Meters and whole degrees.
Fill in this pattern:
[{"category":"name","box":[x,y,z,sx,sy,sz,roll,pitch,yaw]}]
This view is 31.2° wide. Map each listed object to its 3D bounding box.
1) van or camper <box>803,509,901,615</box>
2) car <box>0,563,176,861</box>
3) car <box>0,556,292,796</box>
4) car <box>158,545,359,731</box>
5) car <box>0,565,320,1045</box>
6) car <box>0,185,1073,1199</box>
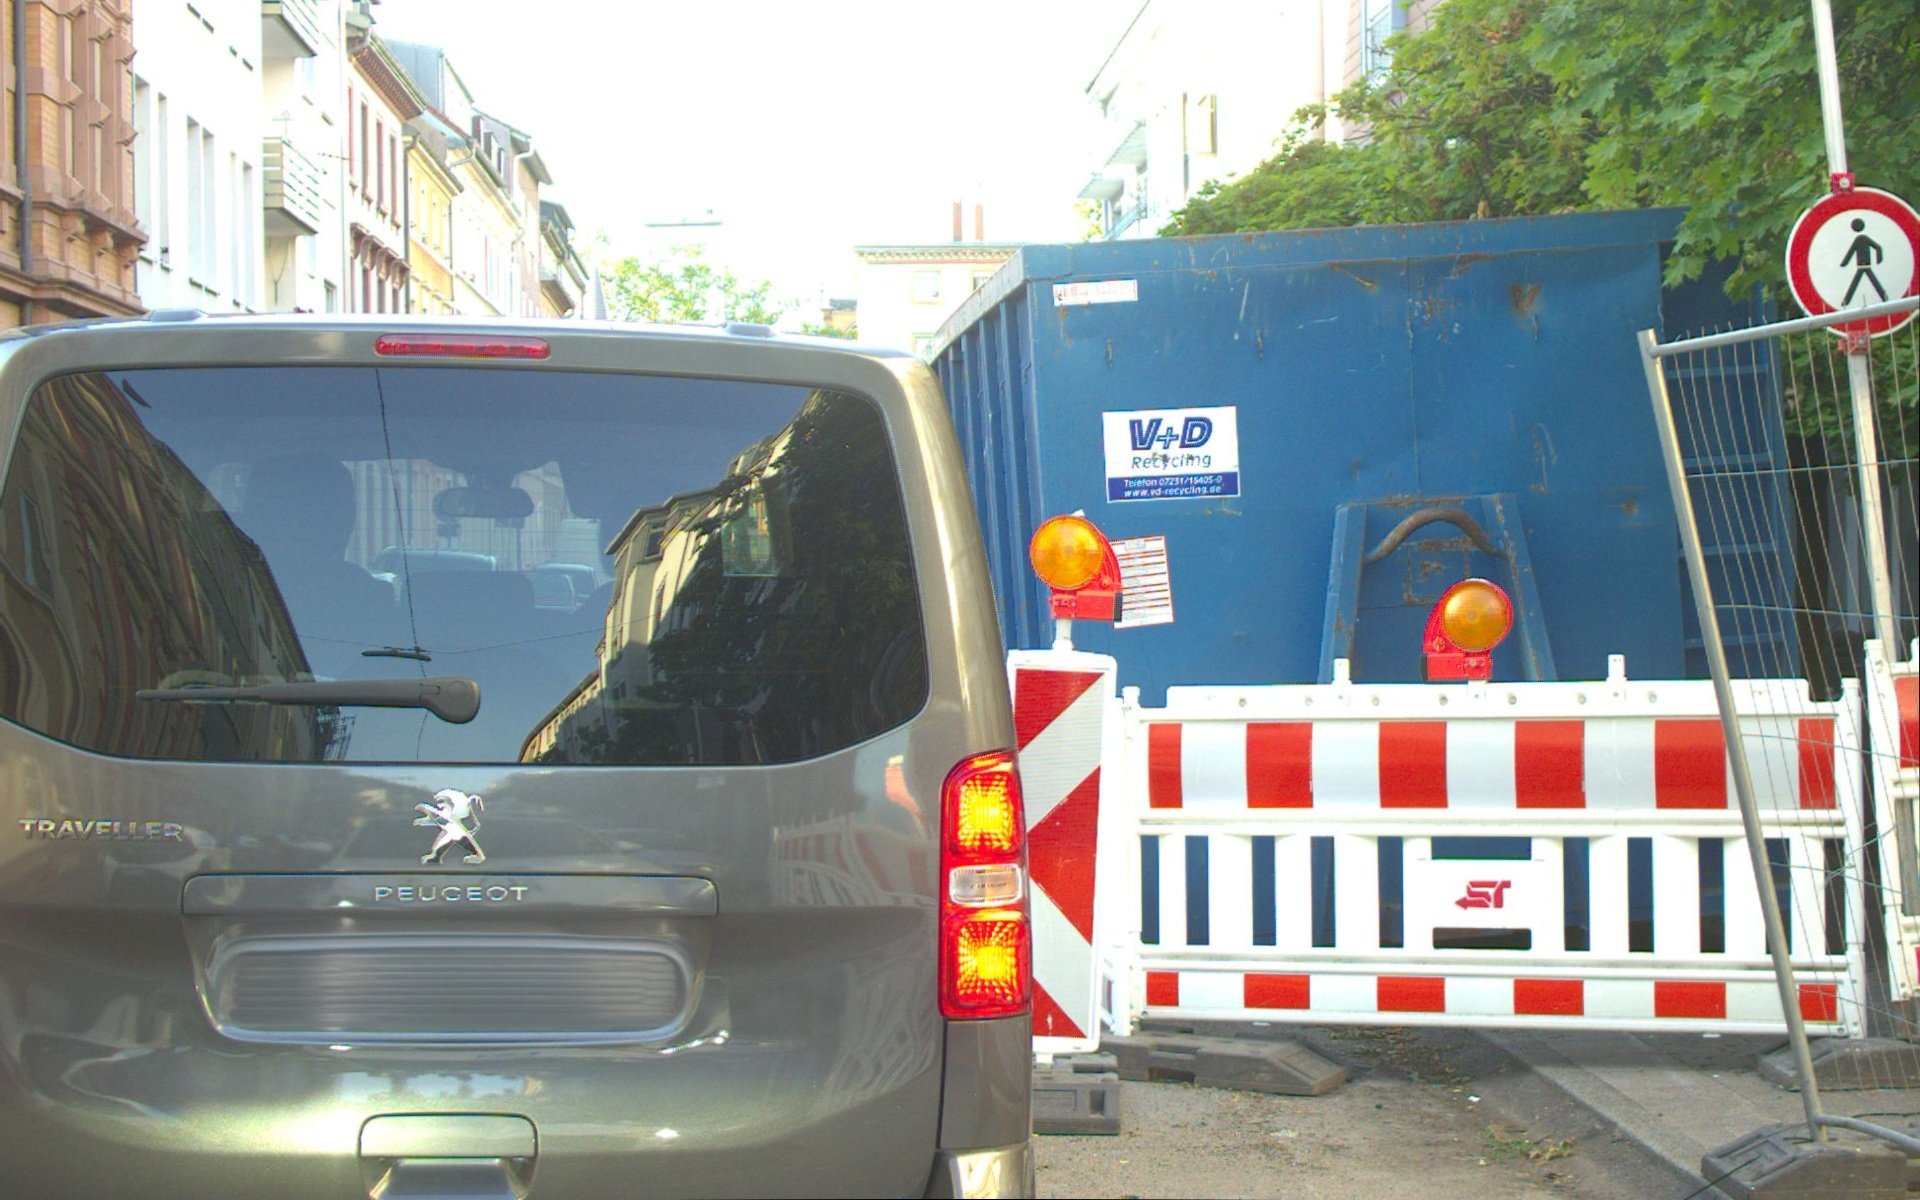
[{"category":"van or camper","box":[-2.882,-0.999,90.229,2.099,2.593,7.514,-2,1,-5]},{"category":"car","box":[-5.283,0.527,18.382,1.632,1.425,3.556,0,1,-5]},{"category":"car","box":[-5.709,0.470,24.086,1.555,1.503,3.598,2,1,-4]},{"category":"car","box":[-6.231,0.302,30.746,1.395,1.583,2.794,0,1,-4]},{"category":"car","box":[-3.743,0.624,12.750,1.993,1.481,4.000,0,1,0]},{"category":"car","box":[-0.922,0.417,6.851,1.857,2.007,4.001,-2,1,-4]}]
